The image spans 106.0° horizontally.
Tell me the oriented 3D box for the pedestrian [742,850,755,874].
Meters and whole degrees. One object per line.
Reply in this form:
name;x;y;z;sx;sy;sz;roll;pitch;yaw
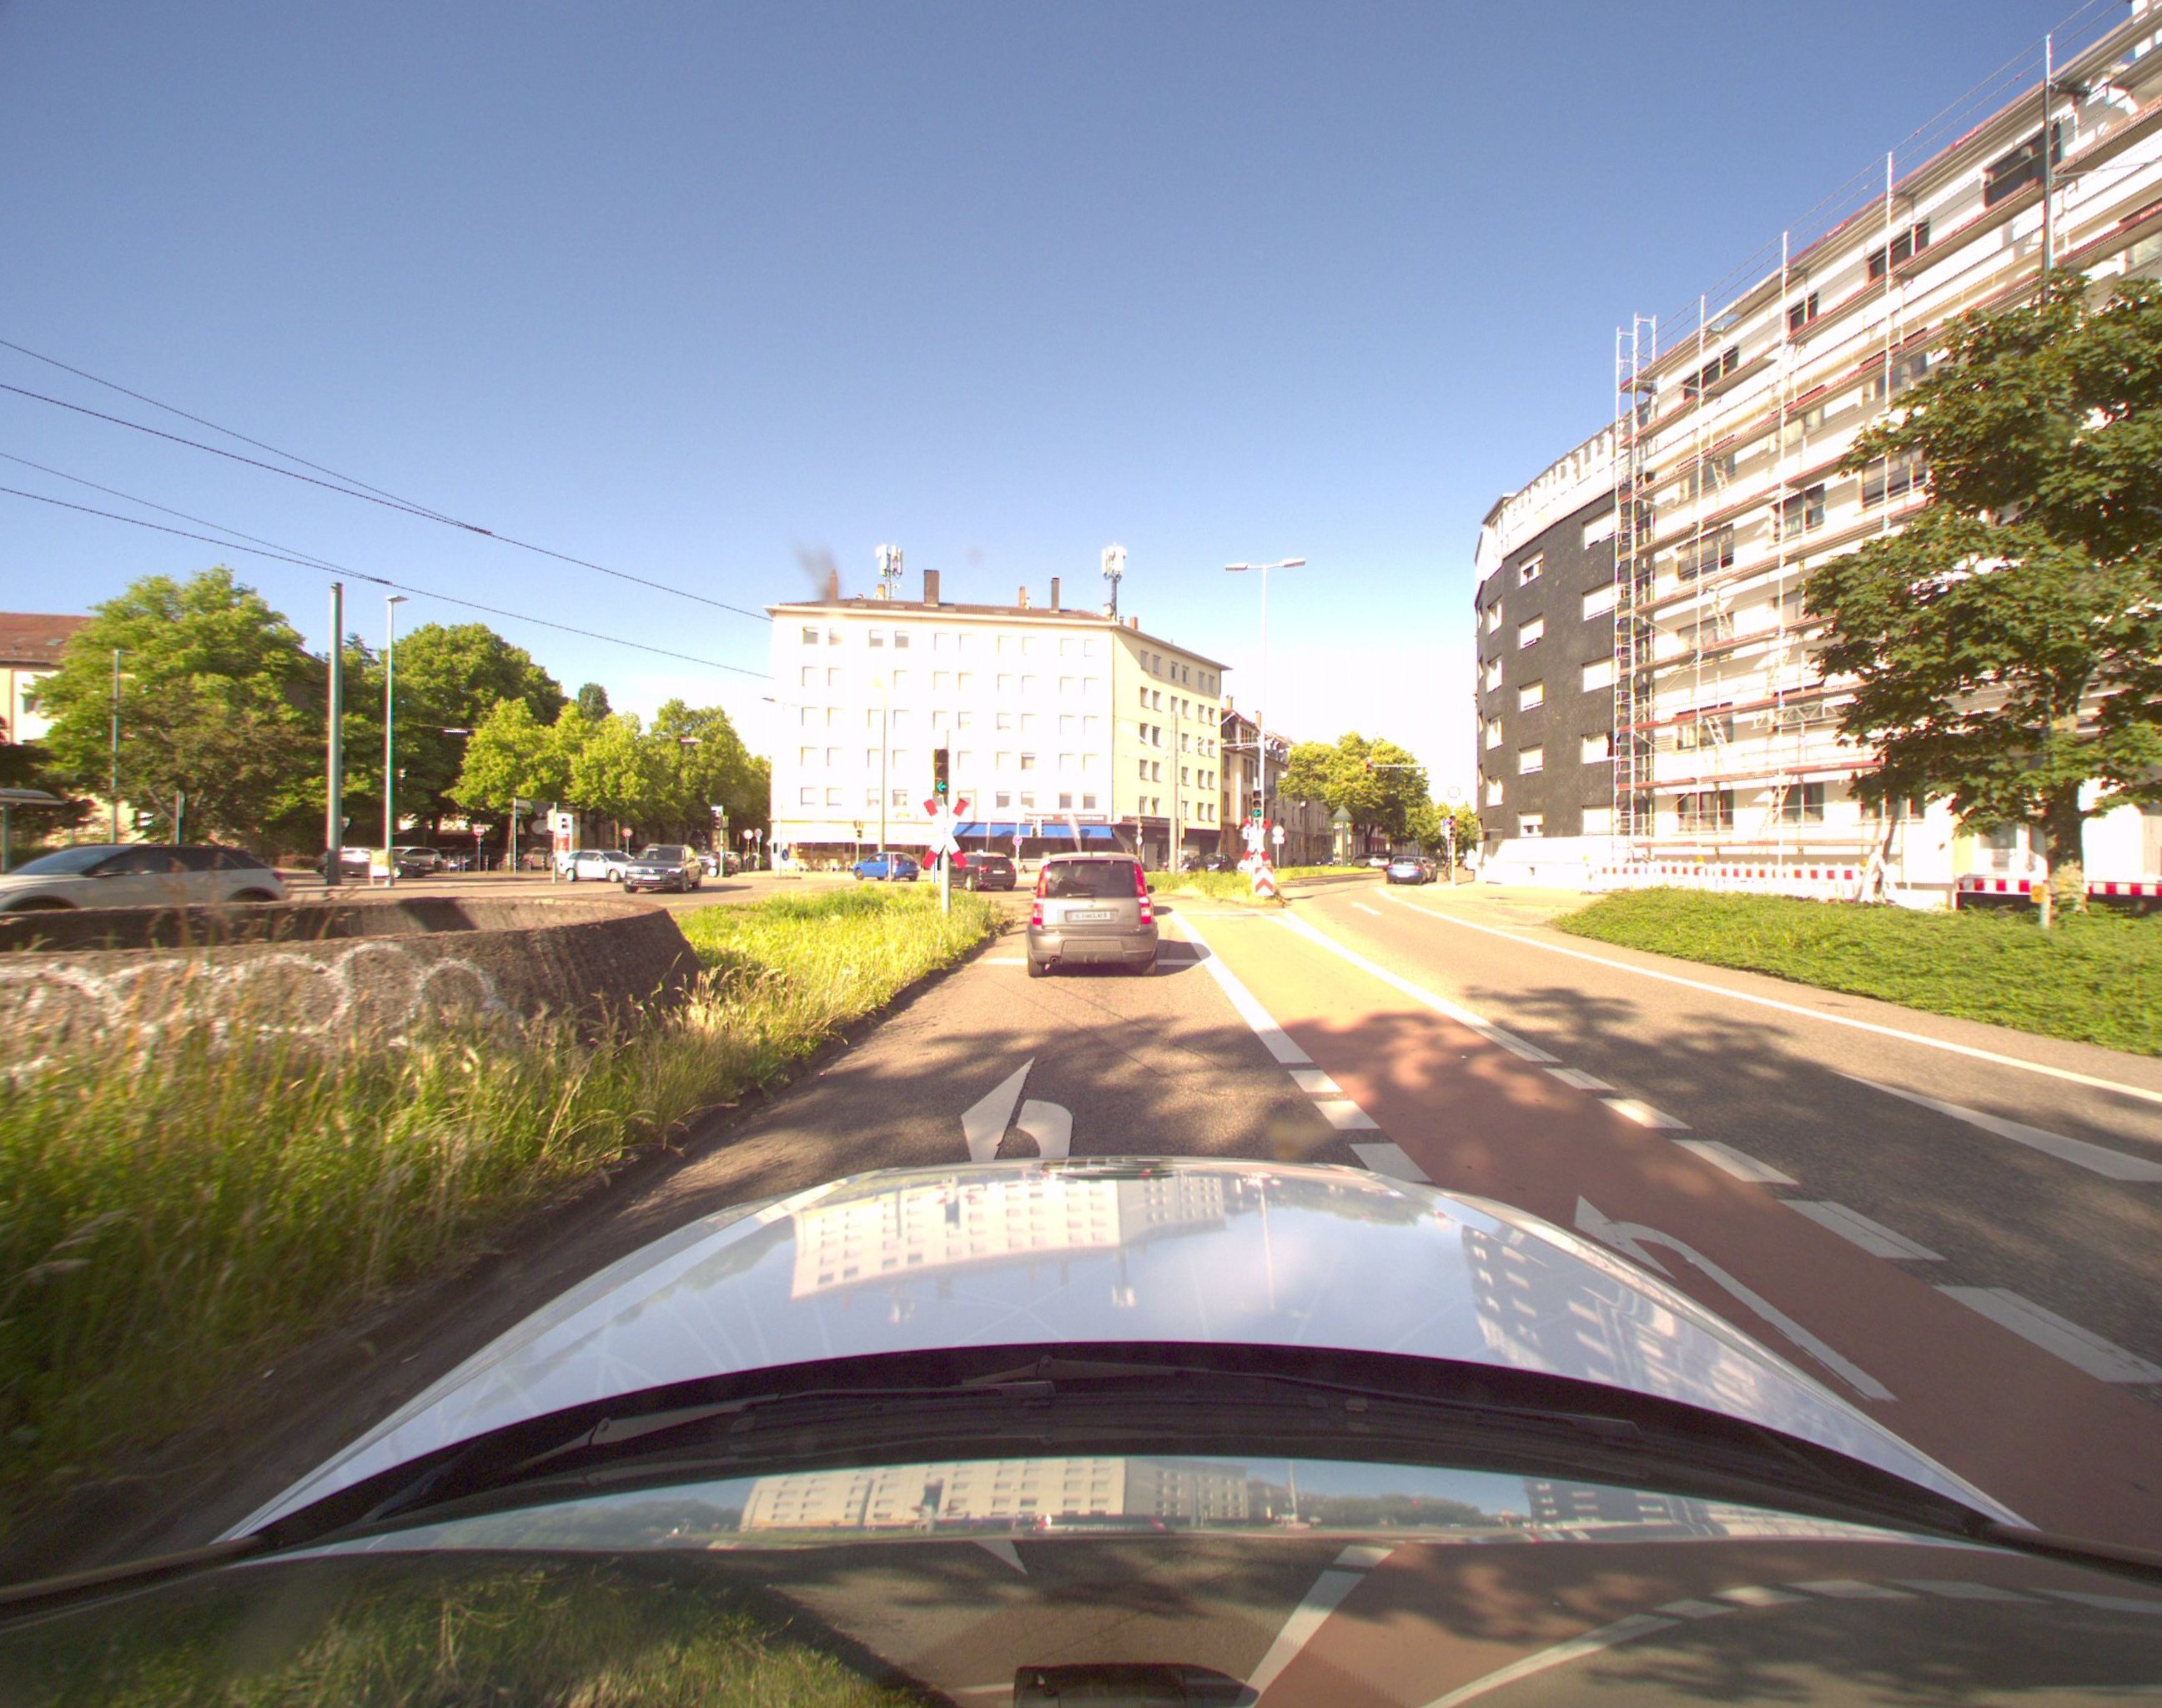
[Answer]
pedestrian;-22.860;0.526;55.952;0.796;1.621;0.822;0;0;-27

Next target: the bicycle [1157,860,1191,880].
bicycle;5.108;0.874;44.900;1.833;1.032;0.593;0;0;37

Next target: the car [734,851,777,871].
car;-25.656;0.559;64.315;1.932;1.513;3.934;0;0;-3

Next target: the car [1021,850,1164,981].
car;0.052;0.720;11.101;1.656;1.510;3.247;0;0;-3

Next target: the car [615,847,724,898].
car;-14.210;0.590;28.428;1.750;1.614;4.714;1;0;-5

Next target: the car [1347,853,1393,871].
car;26.273;0.730;74.106;1.909;1.594;3.976;0;0;-18

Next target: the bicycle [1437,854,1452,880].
bicycle;21.339;0.744;47.805;0.568;1.511;2.824;0;0;28

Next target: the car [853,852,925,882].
car;-9.797;0.655;41.518;3.352;1.438;1.661;0;0;32

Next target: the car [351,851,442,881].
car;-39.725;0.664;47.407;1.755;1.617;4.223;1;0;-2

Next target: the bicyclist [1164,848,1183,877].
bicyclist;5.102;0.464;44.908;0.813;1.559;0.565;0;0;37

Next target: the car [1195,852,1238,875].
car;9.772;0.691;58.578;1.773;1.565;3.789;0;0;30

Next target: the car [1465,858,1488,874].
car;44.820;1.360;92.197;1.975;1.618;4.024;1;-1;30

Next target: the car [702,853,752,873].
car;-24.491;0.580;56.449;1.990;1.310;3.993;0;0;-5

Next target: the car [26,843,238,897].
car;-30.253;0.454;26.134;1.744;1.488;4.026;3;2;17

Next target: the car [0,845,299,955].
car;-15.959;0.644;13.169;1.981;1.562;4.400;1;0;11

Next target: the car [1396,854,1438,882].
car;19.397;0.755;46.881;1.802;1.508;4.024;0;0;28

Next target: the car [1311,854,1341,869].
car;24.988;0.713;82.953;1.974;1.473;4.025;0;0;31

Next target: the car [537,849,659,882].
car;-22.235;0.503;37.562;4.836;1.442;1.739;1;0;10

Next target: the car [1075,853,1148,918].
car;0.702;0.696;19.881;1.615;1.429;3.688;0;0;1

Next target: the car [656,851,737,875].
car;-20.799;0.467;44.203;3.614;1.253;1.690;1;0;-10

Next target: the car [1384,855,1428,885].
car;17.013;0.803;42.518;1.758;1.442;3.640;1;1;27

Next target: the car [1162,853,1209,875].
car;6.897;0.649;53.427;1.773;1.396;3.748;0;0;30

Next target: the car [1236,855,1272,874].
car;13.798;0.830;64.721;1.773;1.483;3.554;0;0;30

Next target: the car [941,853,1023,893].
car;-4.044;0.702;32.653;1.771;1.486;4.252;1;0;-30

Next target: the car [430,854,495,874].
car;-40.088;0.622;52.905;1.591;1.293;3.696;0;0;-5

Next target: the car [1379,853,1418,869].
car;35.724;0.768;91.659;3.771;1.786;1.852;0;0;42
